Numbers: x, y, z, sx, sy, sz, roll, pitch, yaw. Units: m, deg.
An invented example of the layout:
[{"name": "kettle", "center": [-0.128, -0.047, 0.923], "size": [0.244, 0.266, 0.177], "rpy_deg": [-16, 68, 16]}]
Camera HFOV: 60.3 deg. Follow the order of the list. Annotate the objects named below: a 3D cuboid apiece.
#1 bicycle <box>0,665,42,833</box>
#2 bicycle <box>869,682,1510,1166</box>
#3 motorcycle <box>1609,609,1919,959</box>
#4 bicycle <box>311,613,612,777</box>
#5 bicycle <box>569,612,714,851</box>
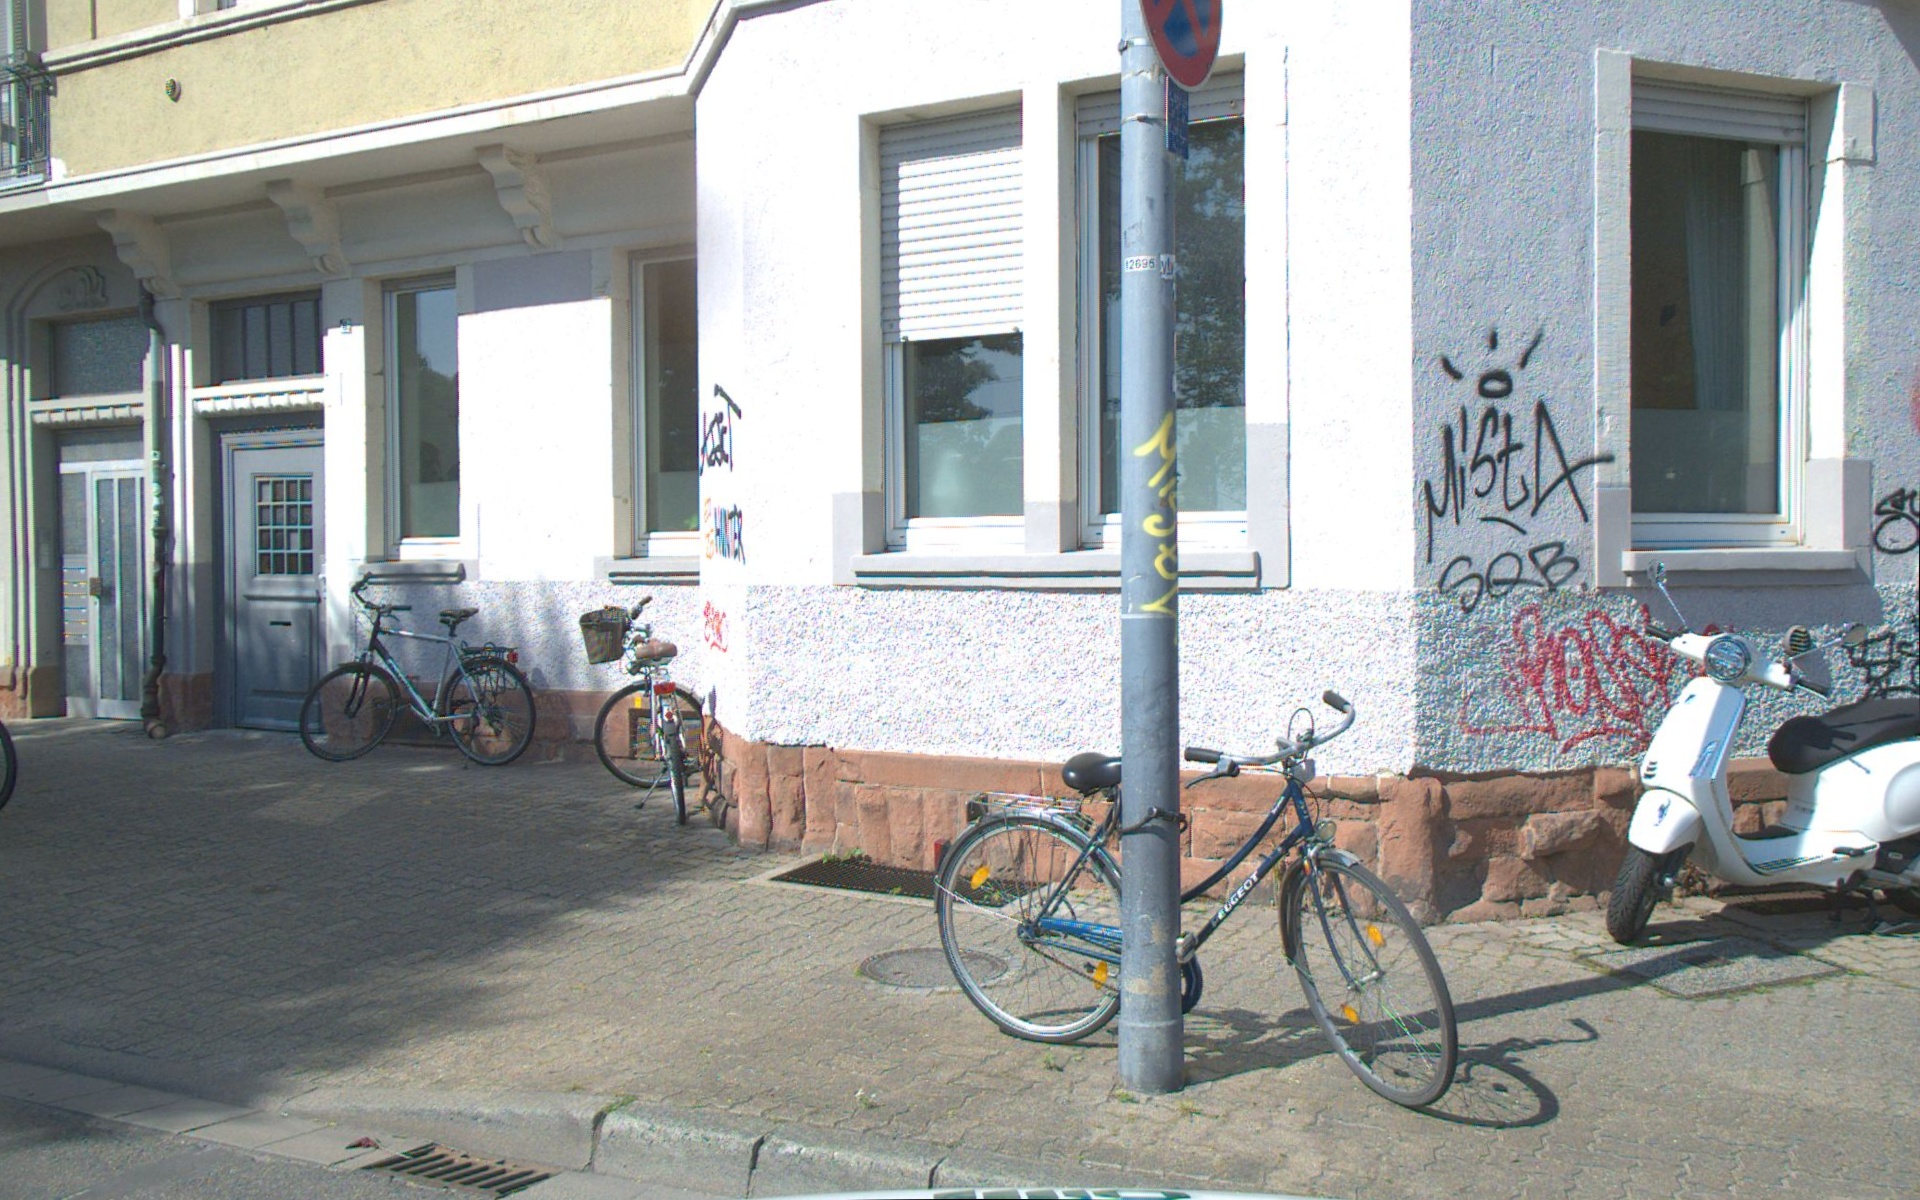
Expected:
[{"name": "bicycle", "center": [-6.030, 0.839, 9.540], "size": [1.545, 0.907, 0.449], "rpy_deg": [0, 3, 26]}, {"name": "bicycle", "center": [0.630, 0.824, 4.666], "size": [1.694, 1.106, 0.578], "rpy_deg": [0, 1, 25]}, {"name": "motorcycle", "center": [3.369, 0.653, 6.293], "size": [1.729, 1.170, 0.472], "rpy_deg": [-2, 3, -13]}, {"name": "bicycle", "center": [-3.354, 0.601, 11.079], "size": [2.066, 0.961, 0.609], "rpy_deg": [0, 3, 28]}, {"name": "bicycle", "center": [-1.773, 0.651, 9.038], "size": [0.528, 1.064, 1.818], "rpy_deg": [-1, 3, -18]}]
